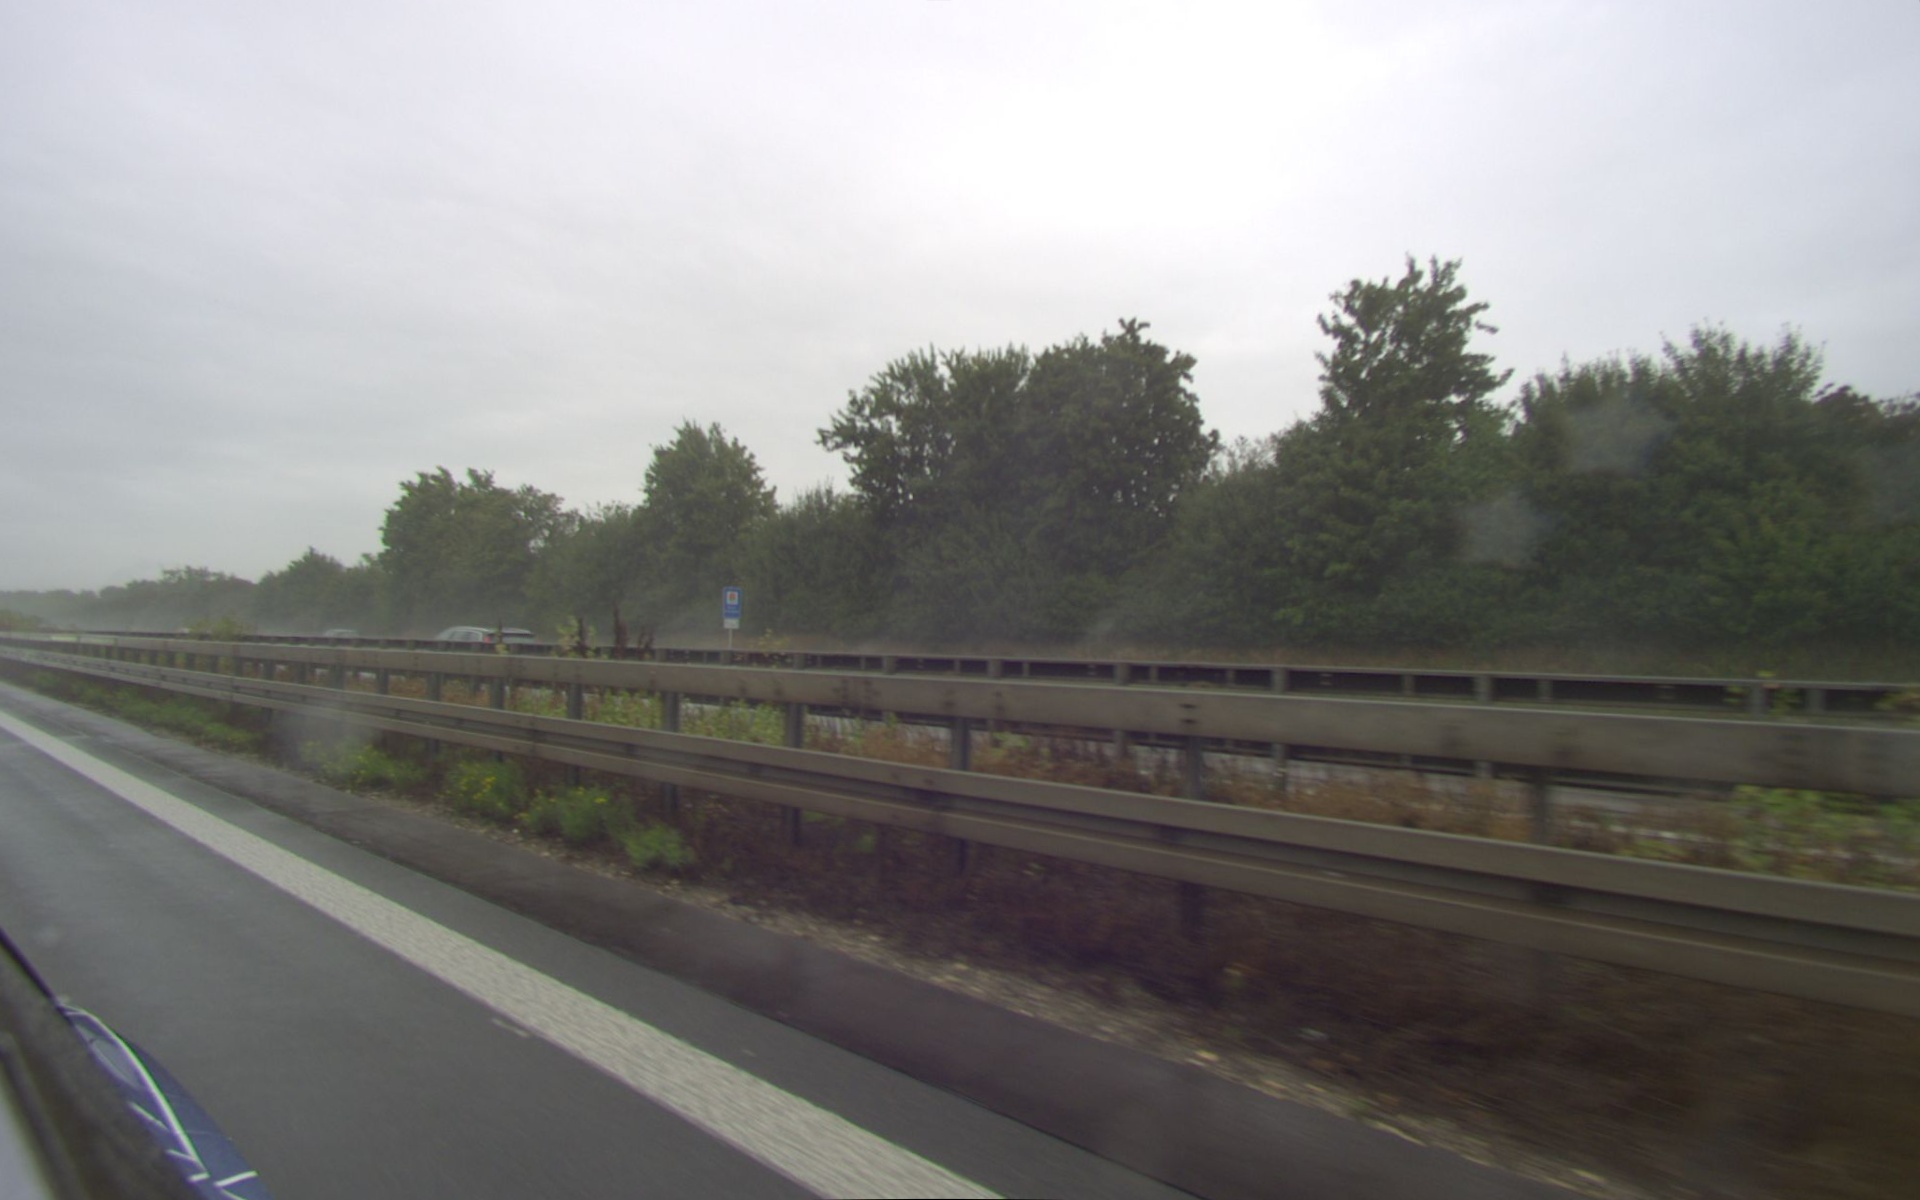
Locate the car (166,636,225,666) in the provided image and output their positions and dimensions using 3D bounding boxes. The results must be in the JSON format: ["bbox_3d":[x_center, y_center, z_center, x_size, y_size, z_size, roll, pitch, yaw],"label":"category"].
[{"bbox_3d":[-44.234,2.929,58.523,4.758,1.579,1.715,-2,-1,40],"label":"car"}]

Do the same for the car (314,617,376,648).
[{"bbox_3d":[-33.512,1.783,55.093,3.997,1.579,1.715,-2,-1,40],"label":"car"}]
